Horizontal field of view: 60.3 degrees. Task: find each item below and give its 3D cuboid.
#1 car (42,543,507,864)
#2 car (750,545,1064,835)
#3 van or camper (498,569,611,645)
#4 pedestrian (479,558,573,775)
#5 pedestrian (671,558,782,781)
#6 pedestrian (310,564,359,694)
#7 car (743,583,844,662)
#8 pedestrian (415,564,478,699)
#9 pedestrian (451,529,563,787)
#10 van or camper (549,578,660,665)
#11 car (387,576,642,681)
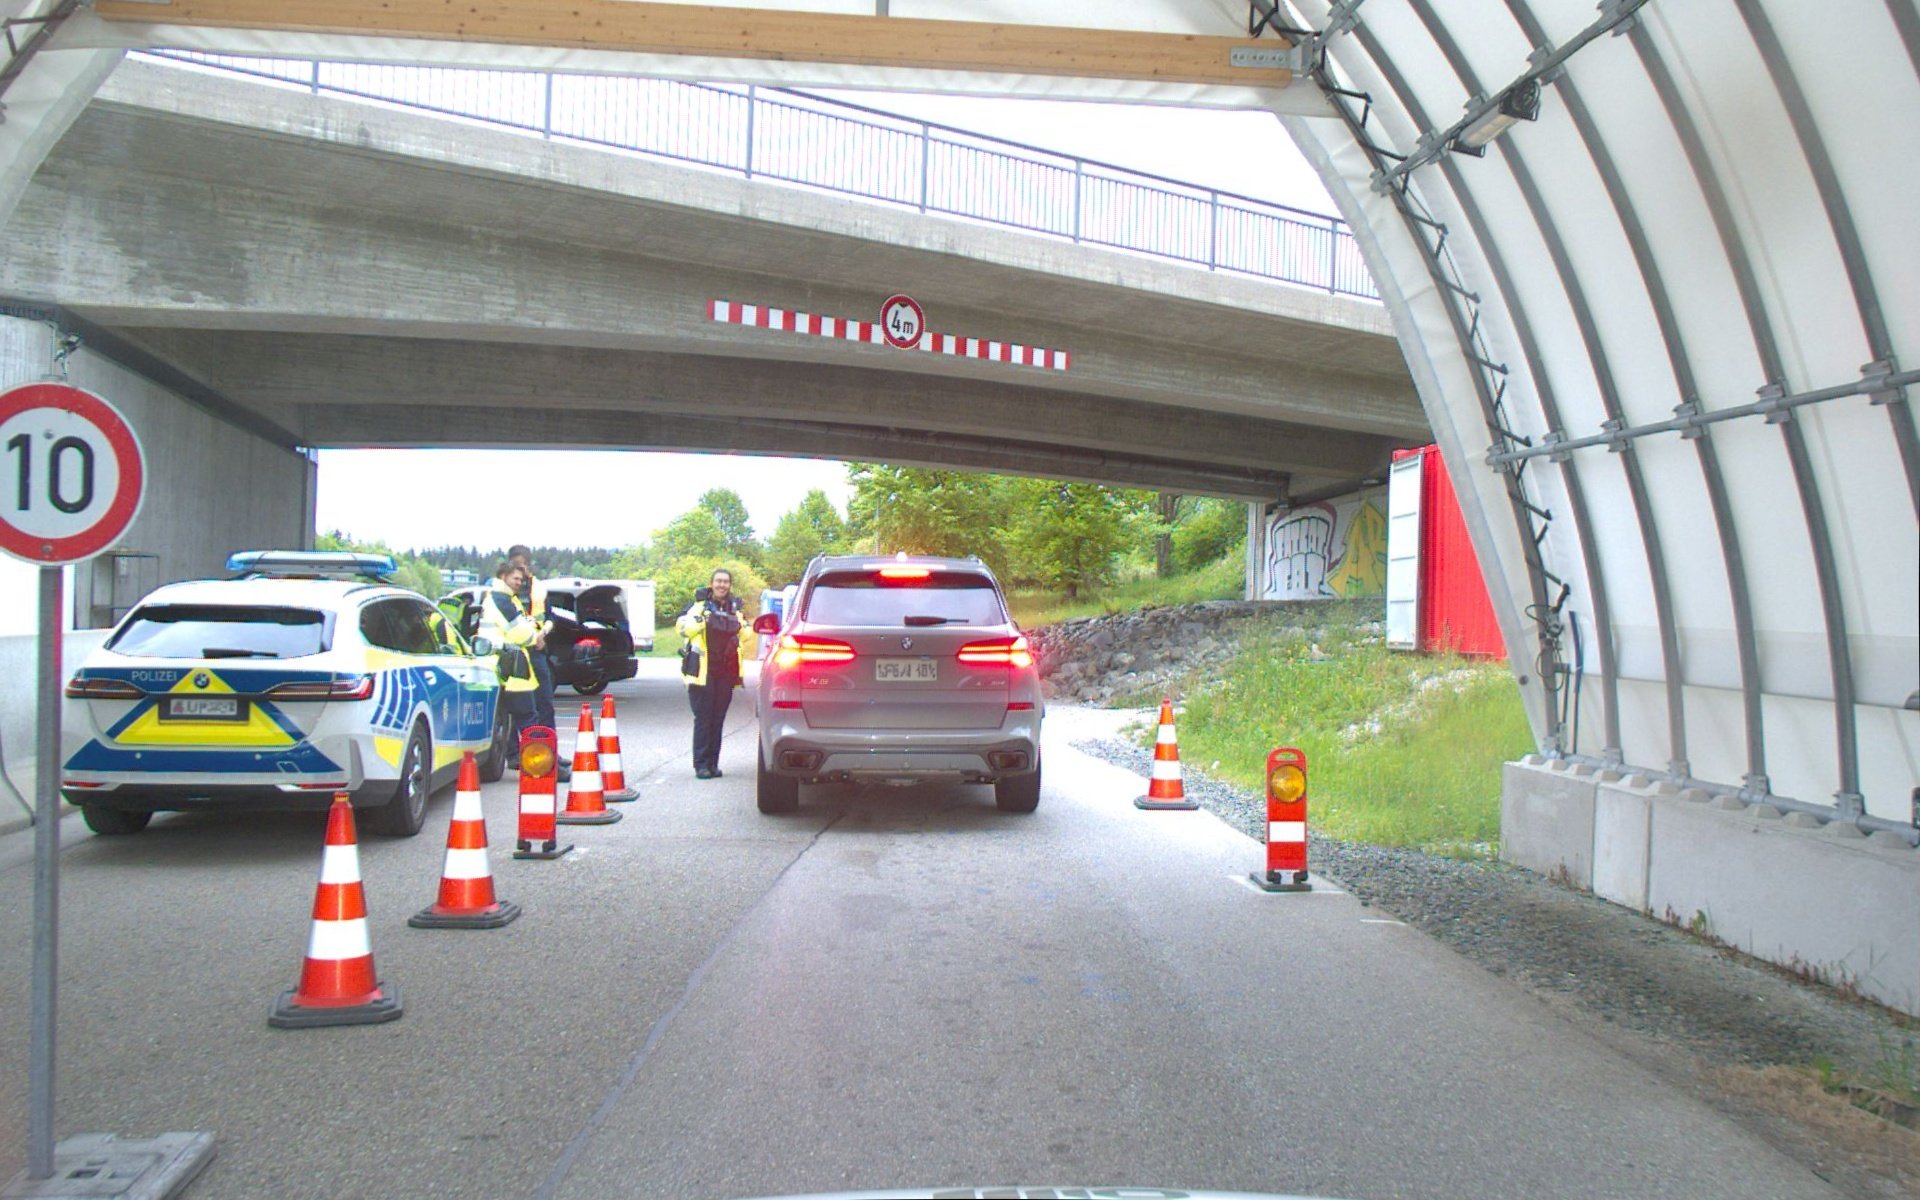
[{"bbox_3d":[-4.182,0.539,10.813,1.842,1.675,3.993,-1,0,-8],"label":"car"},{"bbox_3d":[-0.419,0.557,12.371,1.954,1.796,3.998,-1,0,-3],"label":"car"},{"bbox_3d":[-14.504,0.228,58.905,2.086,2.563,5.482,0,0,-35],"label":"van or camper"},{"bbox_3d":[-3.658,0.547,13.983,0.596,1.784,0.666,-1,0,0],"label":"pedestrian"},{"bbox_3d":[-1.911,0.543,13.479,0.768,1.752,0.753,0,0,-18],"label":"pedestrian"},{"bbox_3d":[-10.006,0.450,26.478,0.613,2.049,0.654,0,0,-10],"label":"pedestrian"},{"bbox_3d":[-5.307,0.668,52.296,1.969,2.387,3.968,0,0,-25],"label":"car"},{"bbox_3d":[-7.899,0.472,25.458,0.675,2.049,0.703,0,0,9],"label":"pedestrian"},{"bbox_3d":[-3.532,0.434,12.949,0.735,1.952,0.761,0,0,-9],"label":"pedestrian"},{"bbox_3d":[-11.557,0.655,53.349,2.201,2.597,6.561,0,0,-24],"label":"van or camper"},{"bbox_3d":[-9.049,0.566,33.674,4.703,2.049,1.842,0,0,14],"label":"car"}]
